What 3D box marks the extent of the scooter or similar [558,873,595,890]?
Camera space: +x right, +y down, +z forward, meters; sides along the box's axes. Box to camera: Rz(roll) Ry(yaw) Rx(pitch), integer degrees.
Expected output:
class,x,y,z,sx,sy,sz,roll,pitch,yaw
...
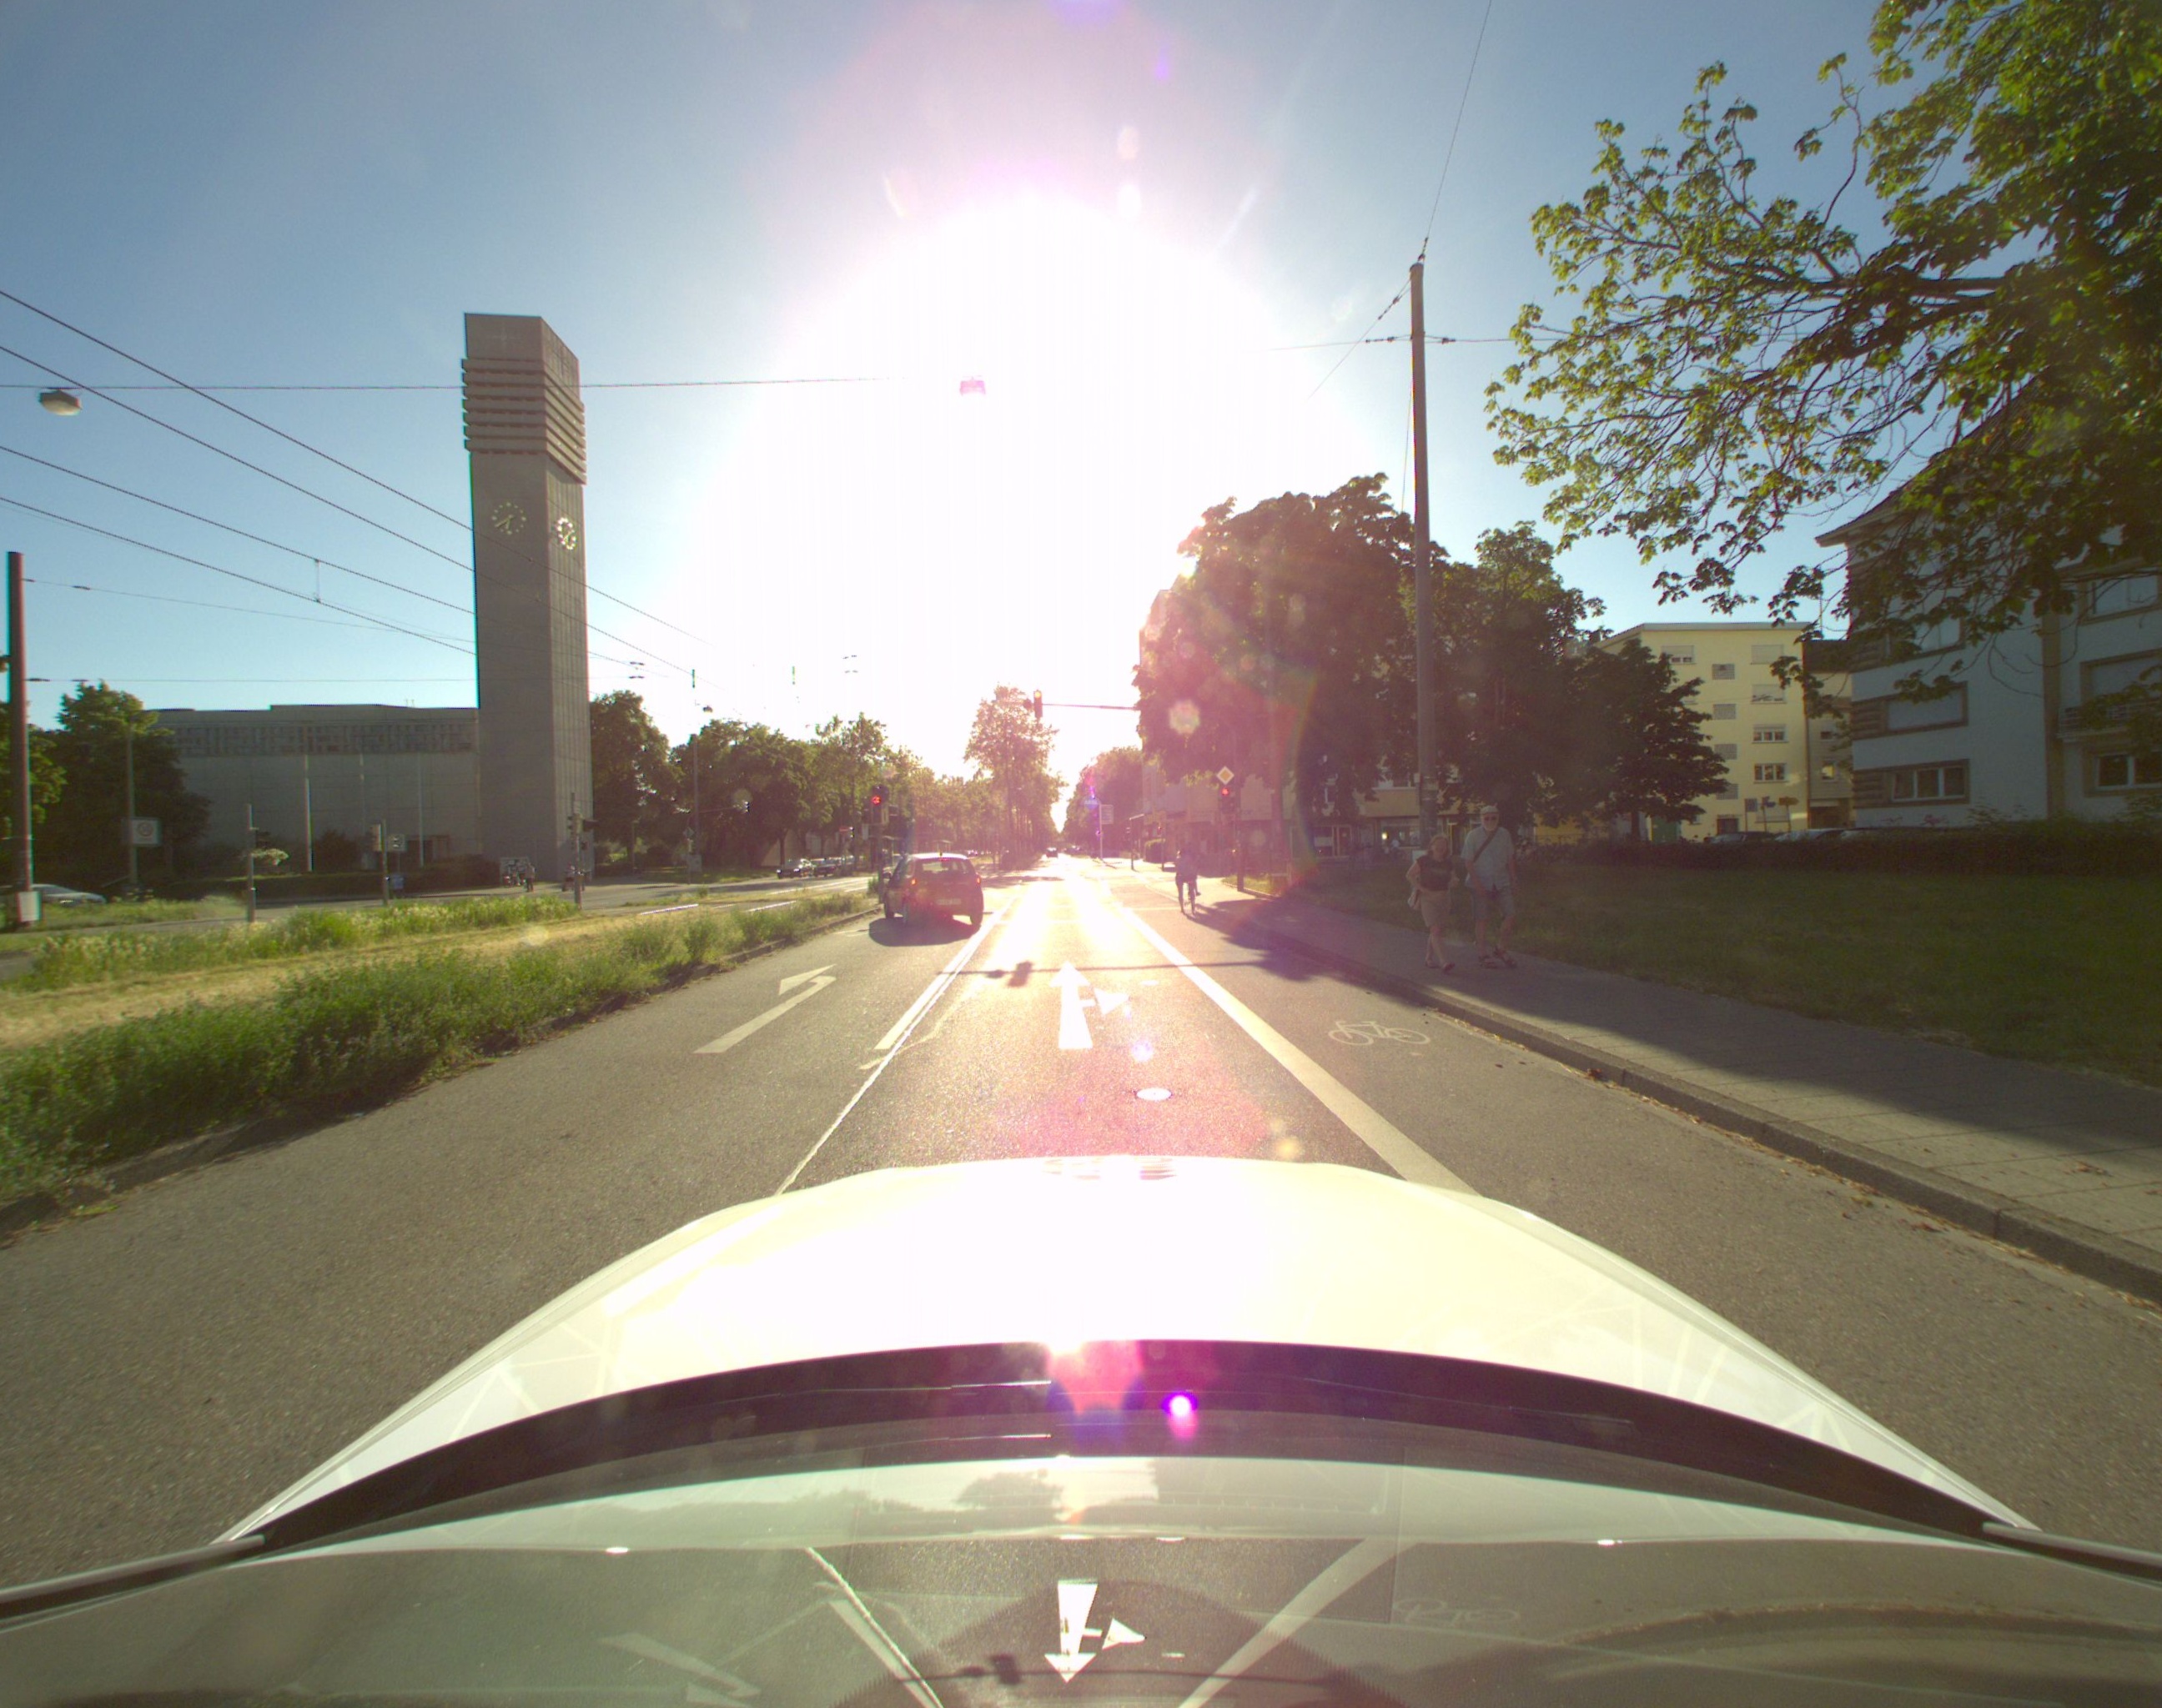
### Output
class,x,y,z,sx,sy,sz,roll,pitch,yaw
scooter or similar,-29.443,1.614,47.532,1.739,0.899,0.560,-2,0,-18

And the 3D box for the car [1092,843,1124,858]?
class,x,y,z,sx,sy,sz,roll,pitch,yaw
car,3.555,-0.441,108.127,3.964,1.860,2.017,1,0,8

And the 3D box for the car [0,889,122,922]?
class,x,y,z,sx,sy,sz,roll,pitch,yaw
car,-48.356,2.369,37.863,4.700,1.401,1.995,1,0,-8

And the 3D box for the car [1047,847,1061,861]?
class,x,y,z,sx,sy,sz,roll,pitch,yaw
car,-3.916,-0.022,118.369,1.964,1.859,3.995,1,0,-3

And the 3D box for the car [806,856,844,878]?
class,x,y,z,sx,sy,sz,roll,pitch,yaw
car,-20.364,1.004,64.886,1.683,1.533,4.358,-2,0,-2

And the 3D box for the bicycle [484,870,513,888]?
class,x,y,z,sx,sy,sz,roll,pitch,yaw
bicycle,-36.179,1.556,50.585,0.488,1.045,1.686,1,0,6

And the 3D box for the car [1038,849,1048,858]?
class,x,y,z,sx,sy,sz,roll,pitch,yaw
car,-7.329,-0.111,156.815,1.889,1.611,4.495,1,0,-3

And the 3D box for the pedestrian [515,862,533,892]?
class,x,y,z,sx,sy,sz,roll,pitch,yaw
pedestrian,-31.851,1.301,46.598,0.440,1.666,0.748,1,0,8

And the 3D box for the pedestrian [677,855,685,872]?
class,x,y,z,sx,sy,sz,roll,pitch,yaw
pedestrian,-35.322,0.834,71.918,0.435,1.507,0.487,1,0,-6

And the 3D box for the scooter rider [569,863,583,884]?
class,x,y,z,sx,sy,sz,roll,pitch,yaw
scooter rider,-29.462,1.133,47.520,0.527,1.218,0.584,1,0,-17

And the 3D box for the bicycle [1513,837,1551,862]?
class,x,y,z,sx,sy,sz,roll,pitch,yaw
bicycle,19.765,-0.198,35.703,0.595,1.034,1.794,1,0,-2

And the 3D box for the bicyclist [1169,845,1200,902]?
class,x,y,z,sx,sy,sz,roll,pitch,yaw
bicyclist,2.480,0.457,19.532,0.636,1.323,0.803,1,0,0

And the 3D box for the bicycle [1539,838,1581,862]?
class,x,y,z,sx,sy,sz,roll,pitch,yaw
bicycle,21.061,-0.175,35.830,0.595,1.034,1.989,1,0,-2

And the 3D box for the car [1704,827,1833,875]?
class,x,y,z,sx,sy,sz,roll,pitch,yaw
car,23.908,-0.118,28.395,3.242,1.529,1.573,-2,0,-4

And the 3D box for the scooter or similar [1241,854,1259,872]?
class,x,y,z,sx,sy,sz,roll,pitch,yaw
scooter or similar,7.116,0.362,34.382,0.596,0.737,0.681,1,0,-3

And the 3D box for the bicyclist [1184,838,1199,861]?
class,x,y,z,sx,sy,sz,roll,pitch,yaw
bicyclist,7.378,-0.297,54.386,0.763,1.471,0.902,-2,1,15

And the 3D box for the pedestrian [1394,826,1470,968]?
class,x,y,z,sx,sy,sz,roll,pitch,yaw
pedestrian,3.956,0.472,9.212,0.527,1.528,0.628,-3,0,3

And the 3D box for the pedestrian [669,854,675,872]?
class,x,y,z,sx,sy,sz,roll,pitch,yaw
pedestrian,-36.093,0.778,71.869,0.435,1.560,0.304,1,0,-6

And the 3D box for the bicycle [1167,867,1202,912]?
class,x,y,z,sx,sy,sz,roll,pitch,yaw
bicycle,2.471,0.831,19.604,0.646,0.972,1.804,1,0,1

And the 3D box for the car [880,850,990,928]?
class,x,y,z,sx,sy,sz,roll,pitch,yaw
car,-3.314,0.681,18.000,1.701,1.508,3.672,0,0,-22

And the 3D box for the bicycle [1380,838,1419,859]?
class,x,y,z,sx,sy,sz,roll,pitch,yaw
bicycle,22.131,-0.398,56.596,2.464,1.399,0.607,1,0,-4

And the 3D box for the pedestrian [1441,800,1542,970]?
class,x,y,z,sx,sy,sz,roll,pitch,yaw
pedestrian,4.565,0.327,9.092,0.700,1.789,0.695,-4,1,3

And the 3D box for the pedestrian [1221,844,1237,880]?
class,x,y,z,sx,sy,sz,roll,pitch,yaw
pedestrian,6.372,0.327,35.093,0.642,1.522,0.497,1,0,10

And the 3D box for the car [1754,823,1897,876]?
class,x,y,z,sx,sy,sz,roll,pitch,yaw
car,23.757,-0.141,26.062,3.242,1.529,1.573,-2,0,-4

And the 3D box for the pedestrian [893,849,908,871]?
class,x,y,z,sx,sy,sz,roll,pitch,yaw
pedestrian,-12.820,0.419,57.921,0.888,1.606,0.613,1,0,-2

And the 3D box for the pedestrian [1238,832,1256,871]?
class,x,y,z,sx,sy,sz,roll,pitch,yaw
pedestrian,7.126,-0.112,35.029,0.725,1.682,0.534,1,0,10

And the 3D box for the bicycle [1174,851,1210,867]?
class,x,y,z,sx,sy,sz,roll,pitch,yaw
bicycle,7.428,0.325,54.425,2.236,0.987,0.792,-1,5,13

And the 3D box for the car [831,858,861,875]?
class,x,y,z,sx,sy,sz,roll,pitch,yaw
car,-20.438,1.086,70.842,1.562,1.402,3.912,1,0,-2

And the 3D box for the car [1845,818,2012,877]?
class,x,y,z,sx,sy,sz,roll,pitch,yaw
car,24.077,-0.182,23.202,3.242,1.529,1.573,-2,0,-4

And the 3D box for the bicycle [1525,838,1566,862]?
class,x,y,z,sx,sy,sz,roll,pitch,yaw
bicycle,20.395,-0.171,35.822,0.595,1.034,2.005,1,0,-2

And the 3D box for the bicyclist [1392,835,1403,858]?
class,x,y,z,sx,sy,sz,roll,pitch,yaw
bicyclist,21.744,-0.532,56.012,0.526,1.567,0.463,1,0,-5

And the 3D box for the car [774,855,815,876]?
class,x,y,z,sx,sy,sz,roll,pitch,yaw
car,-22.680,0.895,64.644,1.802,1.533,4.358,-2,0,-2
